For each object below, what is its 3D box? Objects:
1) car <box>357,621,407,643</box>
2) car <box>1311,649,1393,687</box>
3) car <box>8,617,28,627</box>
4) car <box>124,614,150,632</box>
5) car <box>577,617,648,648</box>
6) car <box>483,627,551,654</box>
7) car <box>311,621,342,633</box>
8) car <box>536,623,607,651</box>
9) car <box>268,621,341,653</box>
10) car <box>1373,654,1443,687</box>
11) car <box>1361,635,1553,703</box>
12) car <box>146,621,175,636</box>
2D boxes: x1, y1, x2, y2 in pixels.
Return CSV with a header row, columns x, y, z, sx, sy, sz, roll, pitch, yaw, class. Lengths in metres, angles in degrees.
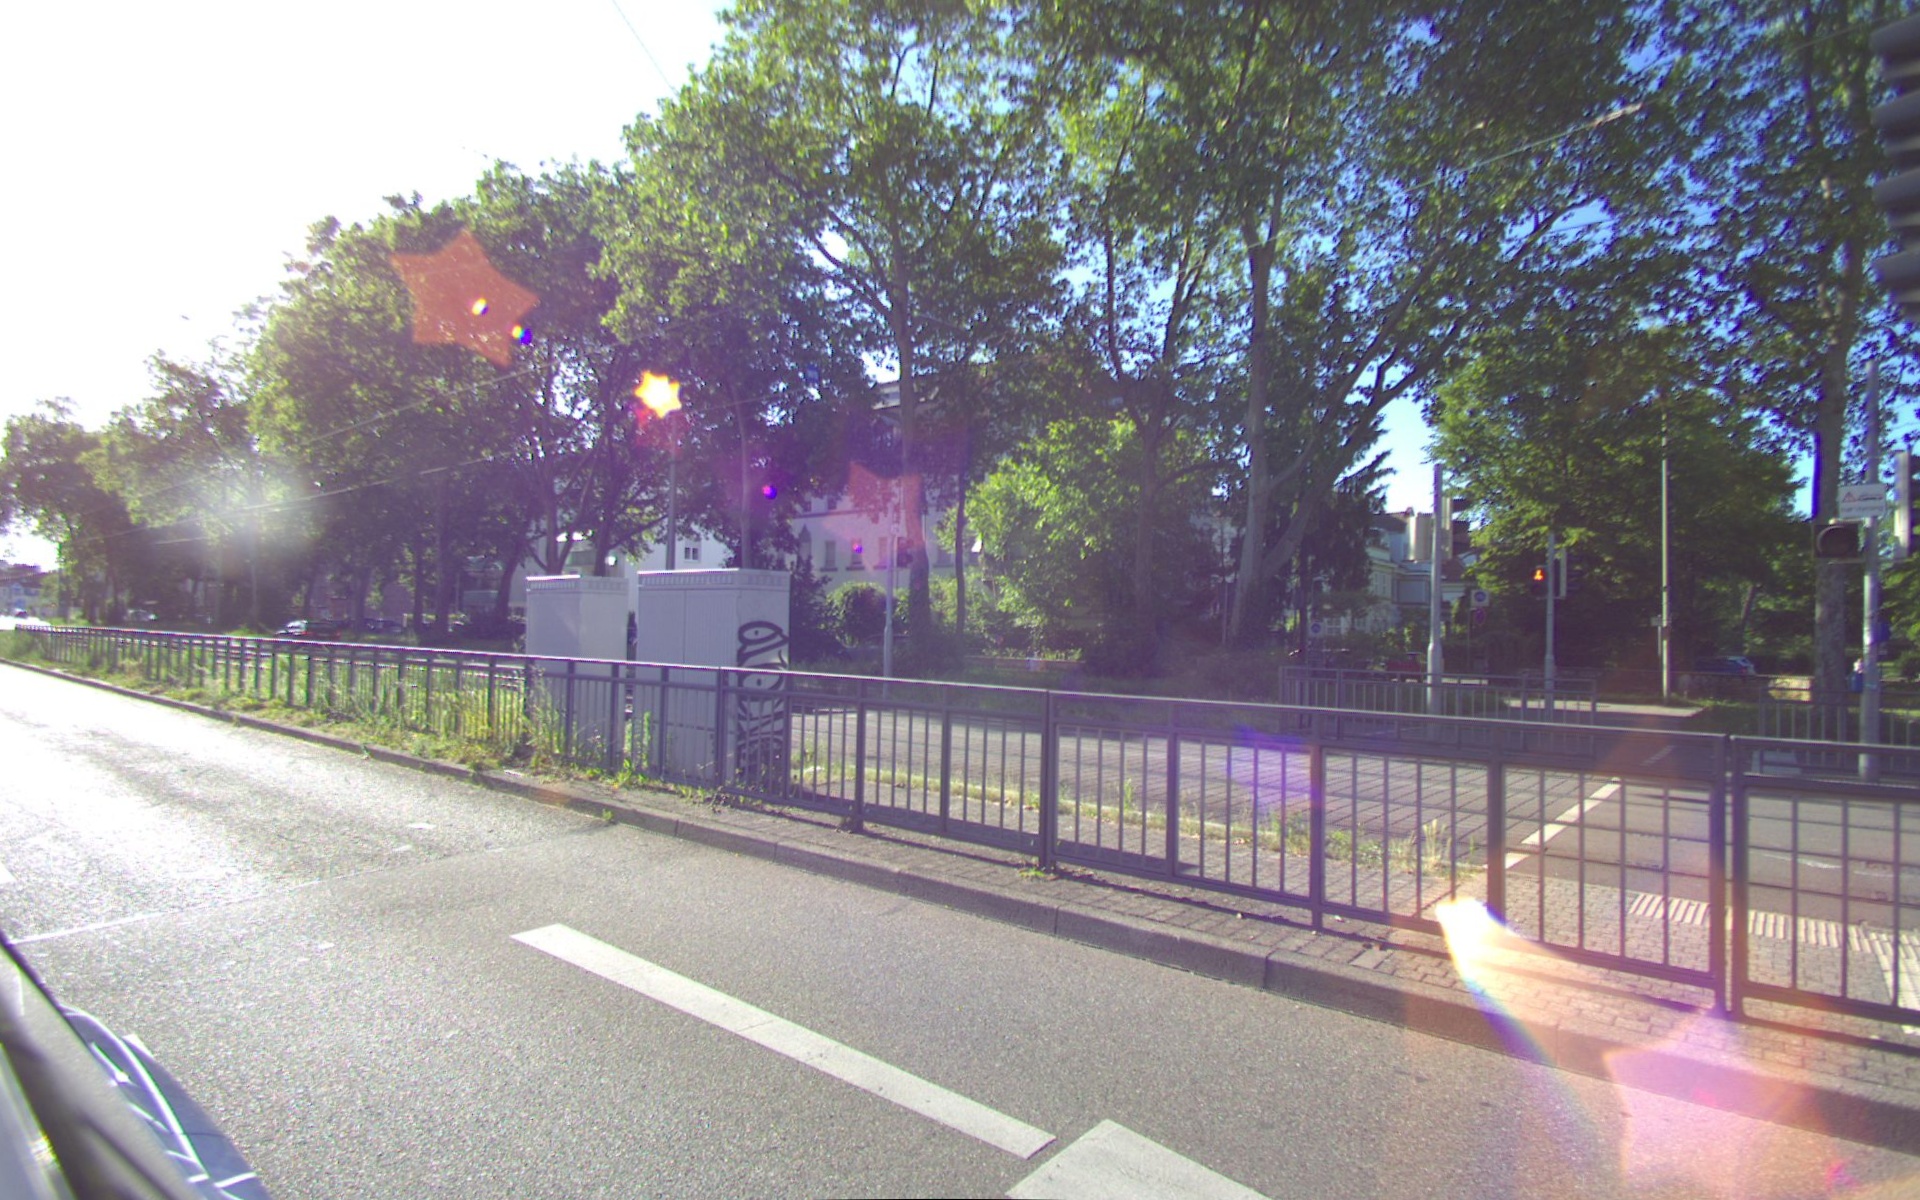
x,y,z,sx,sy,sz,roll,pitch,yaw,class
-40.568,2.219,71.004,3.998,1.484,1.778,-1,-3,41,car
16.334,2.787,42.078,1.999,1.429,3.945,-1,-2,41,car
-166.010,3.909,178.339,4.456,1.660,1.839,-1,-3,39,car
-93.334,2.614,114.751,1.971,2.029,4.002,0,-1,-45,car
-17.617,1.627,51.249,3.696,1.476,1.756,-1,-3,41,car
-25.859,2.348,58.987,4.317,1.464,1.972,-1,-3,41,car
-48.346,2.044,77.224,3.058,0.883,1.094,-1,-3,41,car
-20.902,1.984,54.367,4.459,1.334,1.623,-1,-5,41,car
-32.075,1.786,49.478,4.337,1.510,1.667,-1,-2,38,car
21.387,3.316,48.206,1.999,1.429,3.945,-1,-2,41,car
12.579,1.699,25.750,4.141,1.521,1.652,-1,-2,40,car
-85.501,3.035,108.193,3.686,1.497,1.748,-1,-3,41,car
